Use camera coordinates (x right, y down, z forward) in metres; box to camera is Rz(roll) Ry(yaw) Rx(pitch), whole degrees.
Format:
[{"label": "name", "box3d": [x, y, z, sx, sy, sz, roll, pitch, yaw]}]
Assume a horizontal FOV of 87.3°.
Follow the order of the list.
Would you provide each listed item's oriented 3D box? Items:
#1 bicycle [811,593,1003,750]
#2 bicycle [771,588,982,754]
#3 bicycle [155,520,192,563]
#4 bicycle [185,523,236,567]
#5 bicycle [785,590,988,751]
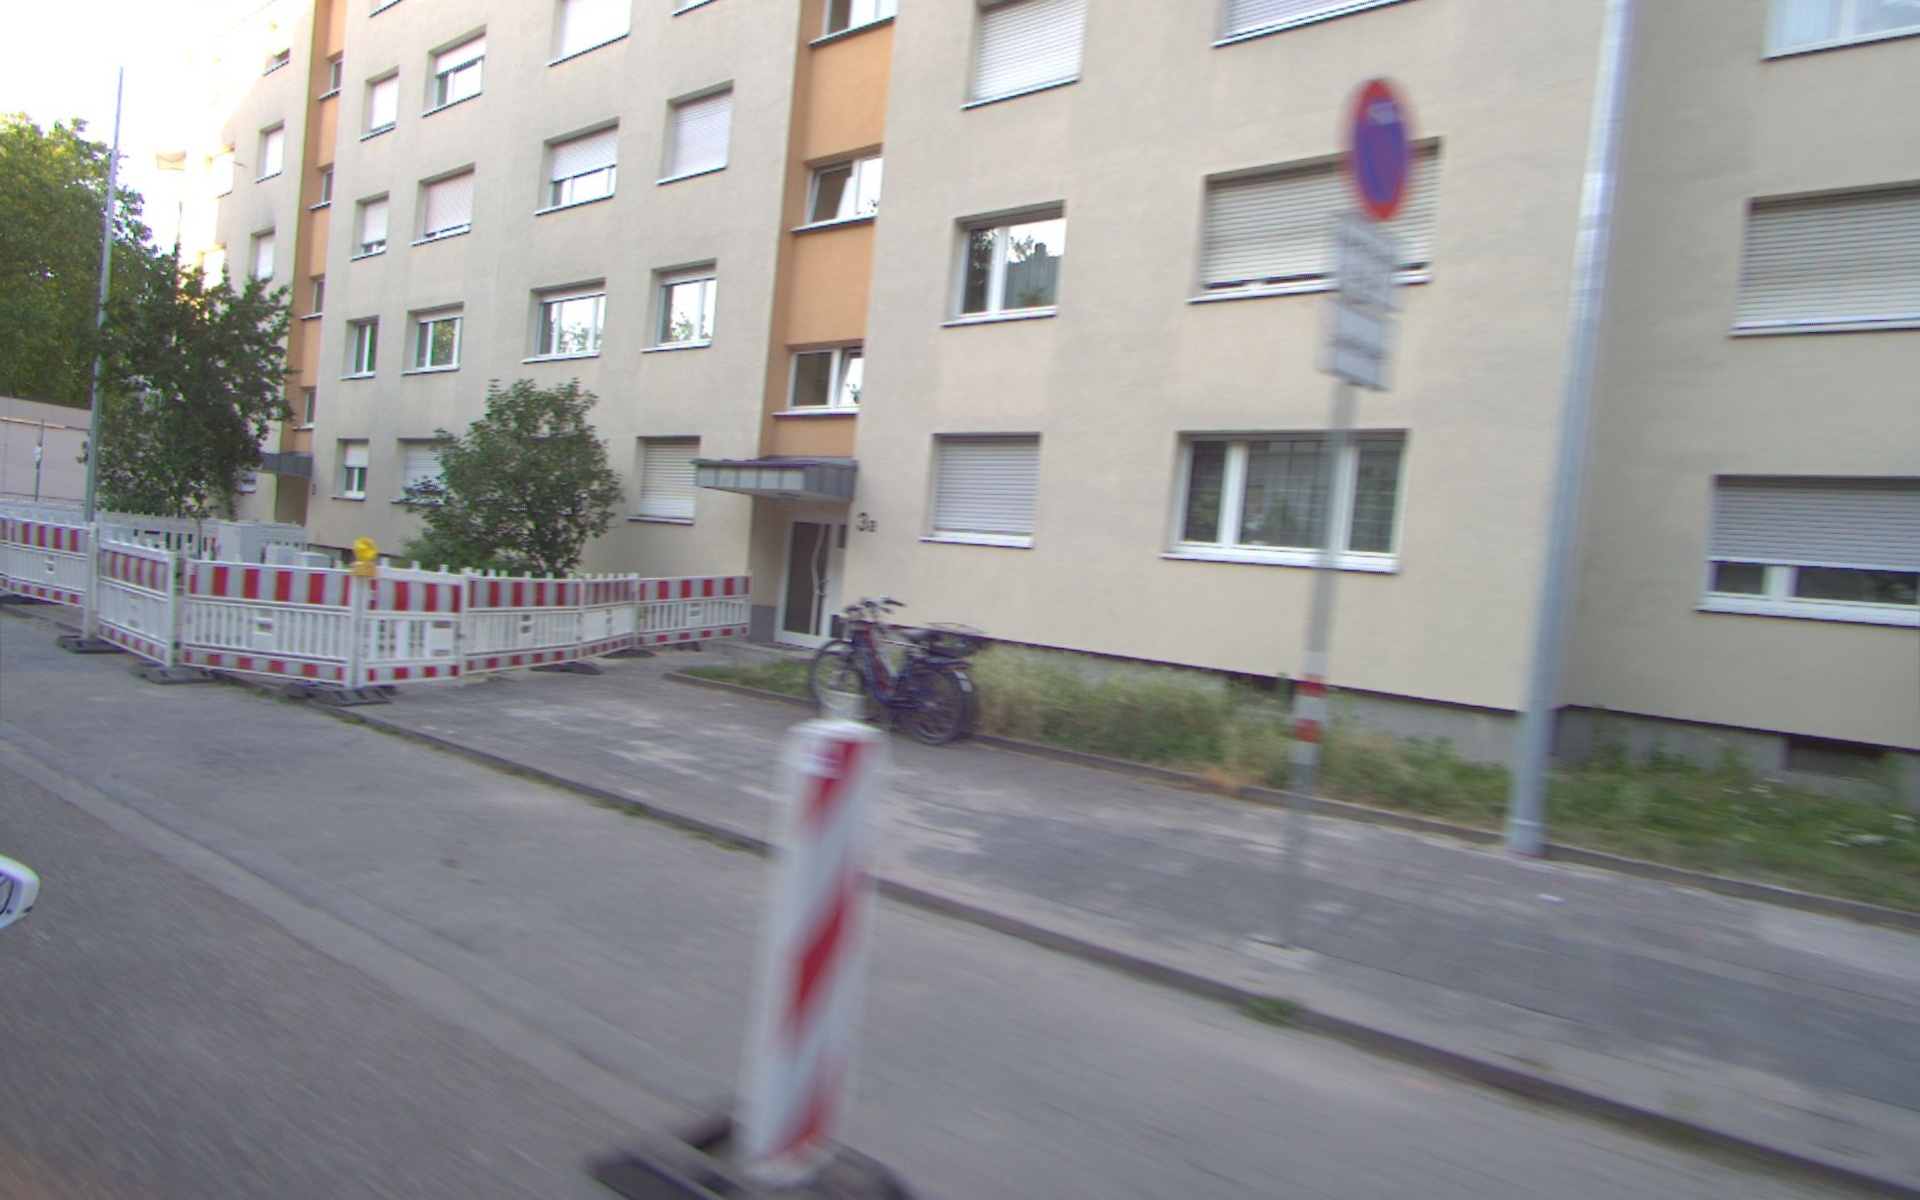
[{"label": "bicycle", "box3d": [-0.531, 0.644, 9.574, 1.795, 1.237, 0.398, 6, 1, 30]}, {"label": "bicycle", "box3d": [-0.786, 0.606, 9.114, 1.879, 1.237, 0.452, 6, 1, 30]}, {"label": "bicycle", "box3d": [-19.742, -1.487, 25.280, 0.540, 0.980, 1.798, 5, 1, -34]}, {"label": "bicycle", "box3d": [-19.456, -1.436, 26.102, 1.671, 0.980, 0.543, 7, 1, 37]}, {"label": "bicycle", "box3d": [-0.718, 0.619, 9.396, 1.879, 1.237, 0.398, 6, 1, 30]}]
